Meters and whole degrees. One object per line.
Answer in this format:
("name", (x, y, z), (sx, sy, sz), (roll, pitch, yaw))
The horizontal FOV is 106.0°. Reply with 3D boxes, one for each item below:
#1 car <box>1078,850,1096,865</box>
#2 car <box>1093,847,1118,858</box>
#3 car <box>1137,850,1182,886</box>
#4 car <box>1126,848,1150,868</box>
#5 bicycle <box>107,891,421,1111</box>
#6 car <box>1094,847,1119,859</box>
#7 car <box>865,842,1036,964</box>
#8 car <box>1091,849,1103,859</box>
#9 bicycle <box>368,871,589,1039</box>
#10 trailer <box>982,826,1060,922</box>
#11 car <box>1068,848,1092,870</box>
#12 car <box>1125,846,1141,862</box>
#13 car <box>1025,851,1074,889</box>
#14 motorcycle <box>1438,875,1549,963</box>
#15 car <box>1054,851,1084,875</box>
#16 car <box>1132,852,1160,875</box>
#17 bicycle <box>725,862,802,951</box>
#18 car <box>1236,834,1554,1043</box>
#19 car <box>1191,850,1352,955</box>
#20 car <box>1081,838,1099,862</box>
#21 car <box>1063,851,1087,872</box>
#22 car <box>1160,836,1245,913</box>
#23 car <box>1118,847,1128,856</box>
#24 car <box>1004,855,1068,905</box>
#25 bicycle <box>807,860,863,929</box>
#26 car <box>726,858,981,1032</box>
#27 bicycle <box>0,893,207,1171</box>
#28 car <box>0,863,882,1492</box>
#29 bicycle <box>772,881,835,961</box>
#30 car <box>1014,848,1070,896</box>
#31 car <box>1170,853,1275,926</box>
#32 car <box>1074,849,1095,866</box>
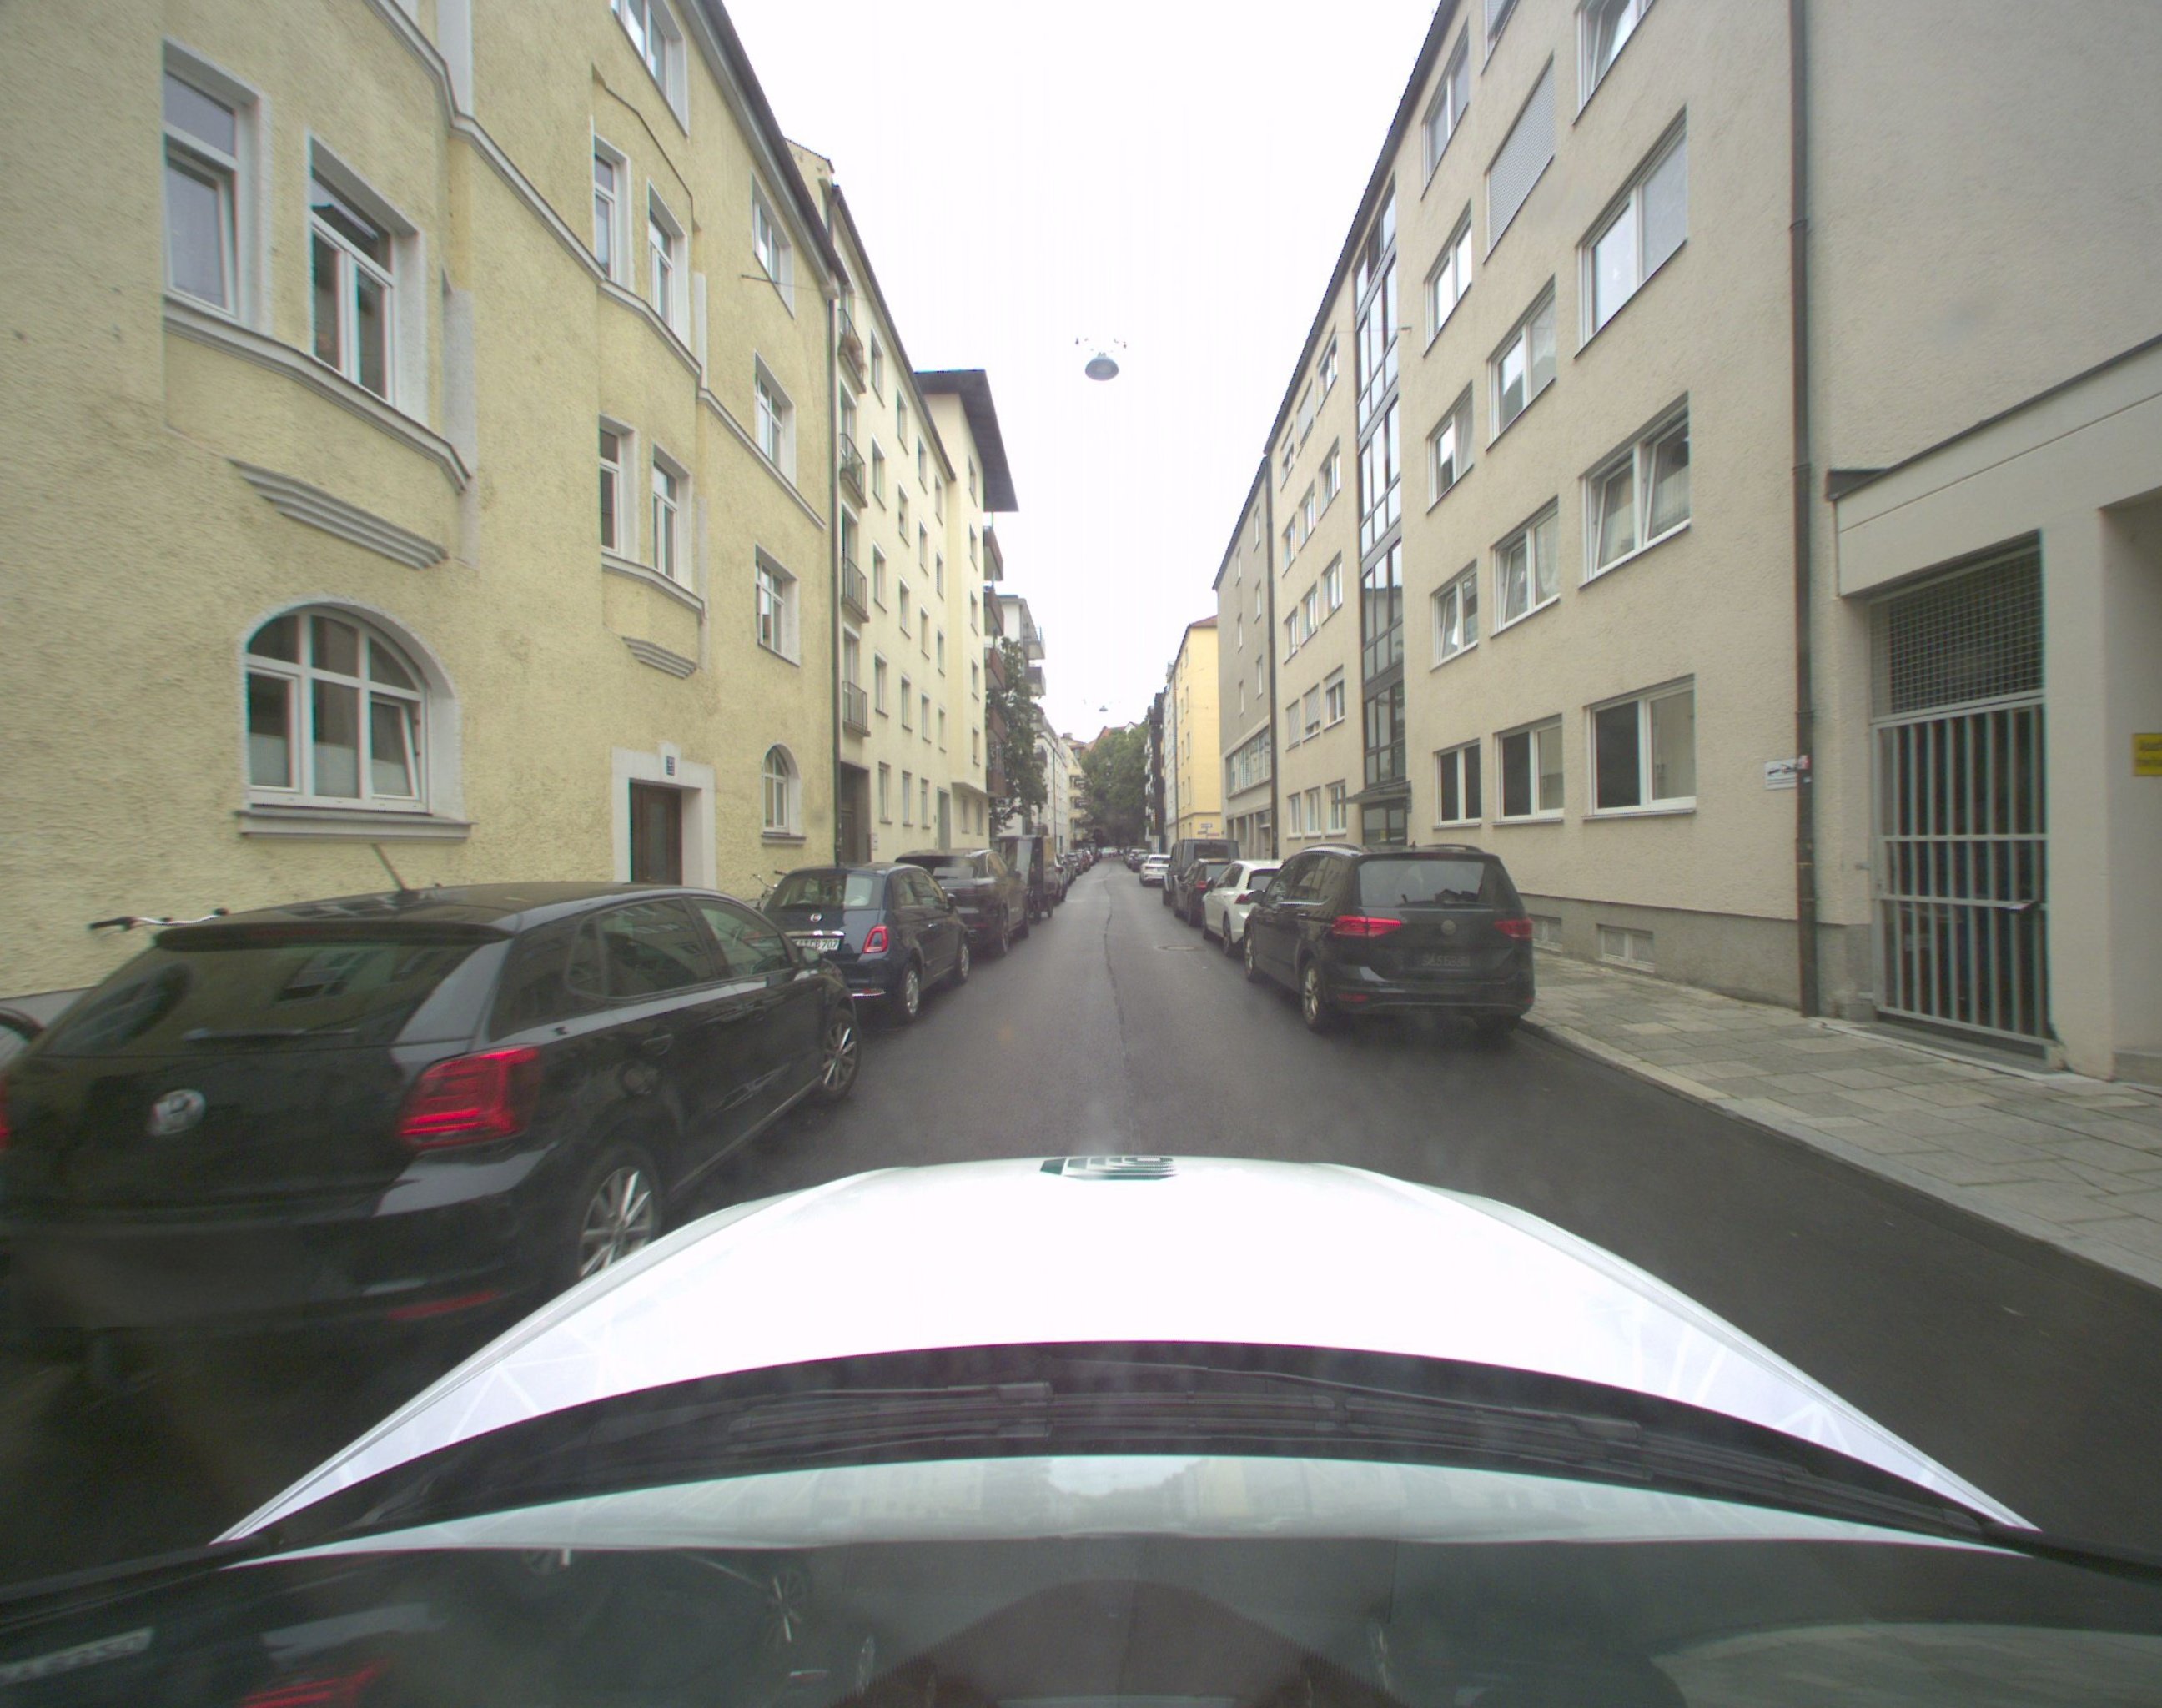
("car", (0.661, 0.341, 85.623), (1.770, 1.452, 4.048), (-4, 0, 2))
("car", (3.936, -0.259, 130.737), (3.872, 1.584, 1.648), (-4, 0, 0))
("car", (3.662, 0.624, 38.650), (1.812, 1.408, 3.954), (0, 3, 1))
("car", (4.789, 0.314, 68.742), (1.676, 1.567, 4.416), (2, 1, 1))
("bicycle", (-5.339, 0.878, 5.480), (0.437, 1.190, 1.633), (0, 0, 1))
("car", (3.966, -0.137, 128.783), (3.872, 1.584, 1.648), (-4, 0, 0))
("car", (-1.964, 0.692, 13.675), (1.871, 1.660, 4.419), (-2, 0, 3))
("car", (2.327, 0.033, 118.921), (1.636, 1.383, 3.484), (-4, 0, 2))
("bicycle", (-5.088, 0.784, 7.040), (0.591, 1.234, 1.737), (0, 0, 1))
("trailer", (-1.370, 0.447, 19.652), (1.349, 2.116, 3.322), (-1, 0, 5))
("car", (-0.049, 0.391, 67.383), (1.770, 1.629, 4.416), (-2, 0, 2))
("car", (6.537, -0.001, 103.032), (1.822, 1.999, 4.417), (2, 0, 2))
("car", (-1.348, 0.671, 36.837), (1.758, 1.483, 4.428), (-2, 1, 3))
("motorcycle", (5.412, 0.813, 10.814), (0.480, 0.967, 1.912), (-5, 0, 1))
("car", (-0.732, 0.582, 53.580), (1.686, 1.442, 3.945), (-2, 0, 3))
("car", (4.620, 0.655, 58.514), (1.744, 1.469, 4.345), (2, 1, 2))
("bicycle", (-4.919, 0.779, 12.697), (0.533, 1.279, 1.552), (2, 0, 1))
("car", (2.839, 0.666, 8.433), (1.706, 1.608, 4.244), (0, 0, 0))
("car", (2.992, 0.700, 13.659), (1.706, 1.486, 4.243), (0, 0, 0))
("car", (1.165, -0.465, 100.285), (1.929, 2.801, 4.534), (-4, 0, 2))
("car", (-0.437, 0.514, 61.396), (1.687, 1.442, 3.978), (-2, 0, 1))
("car", (3.386, 0.517, 23.434), (1.745, 1.975, 4.342), (1, 1, 0))
("car", (7.564, -0.439, 145.894), (1.636, 1.383, 3.747), (-4, 0, 2))
("car", (-1.367, 0.775, 25.995), (1.646, 1.435, 3.805), (-2, 0, 2))
("bicycle", (-4.833, 0.775, 16.096), (0.592, 1.279, 1.552), (2, 0, 1))
("car", (-2.194, 0.801, 8.808), (1.556, 1.460, 3.479), (-2, 0, 3))
("bicycle", (-5.246, 0.835, 3.726), (0.591, 1.234, 1.737), (0, 0, 1))
("car", (-2.231, 0.816, 3.874), (1.557, 1.460, 3.764), (-2, 0, 1))
("bicycle", (-4.885, 1.155, 14.415), (0.533, 1.279, 1.552), (2, 0, 1))
("car", (-1.421, 0.648, 31.273), (1.759, 1.675, 4.368), (-2, 0, 1))
("car", (3.131, 0.734, 18.817), (1.706, 1.486, 4.243), (0, 0, 0))
("car", (0.369, 0.352, 80.281), (1.769, 1.487, 4.522), (-4, 0, 3))
